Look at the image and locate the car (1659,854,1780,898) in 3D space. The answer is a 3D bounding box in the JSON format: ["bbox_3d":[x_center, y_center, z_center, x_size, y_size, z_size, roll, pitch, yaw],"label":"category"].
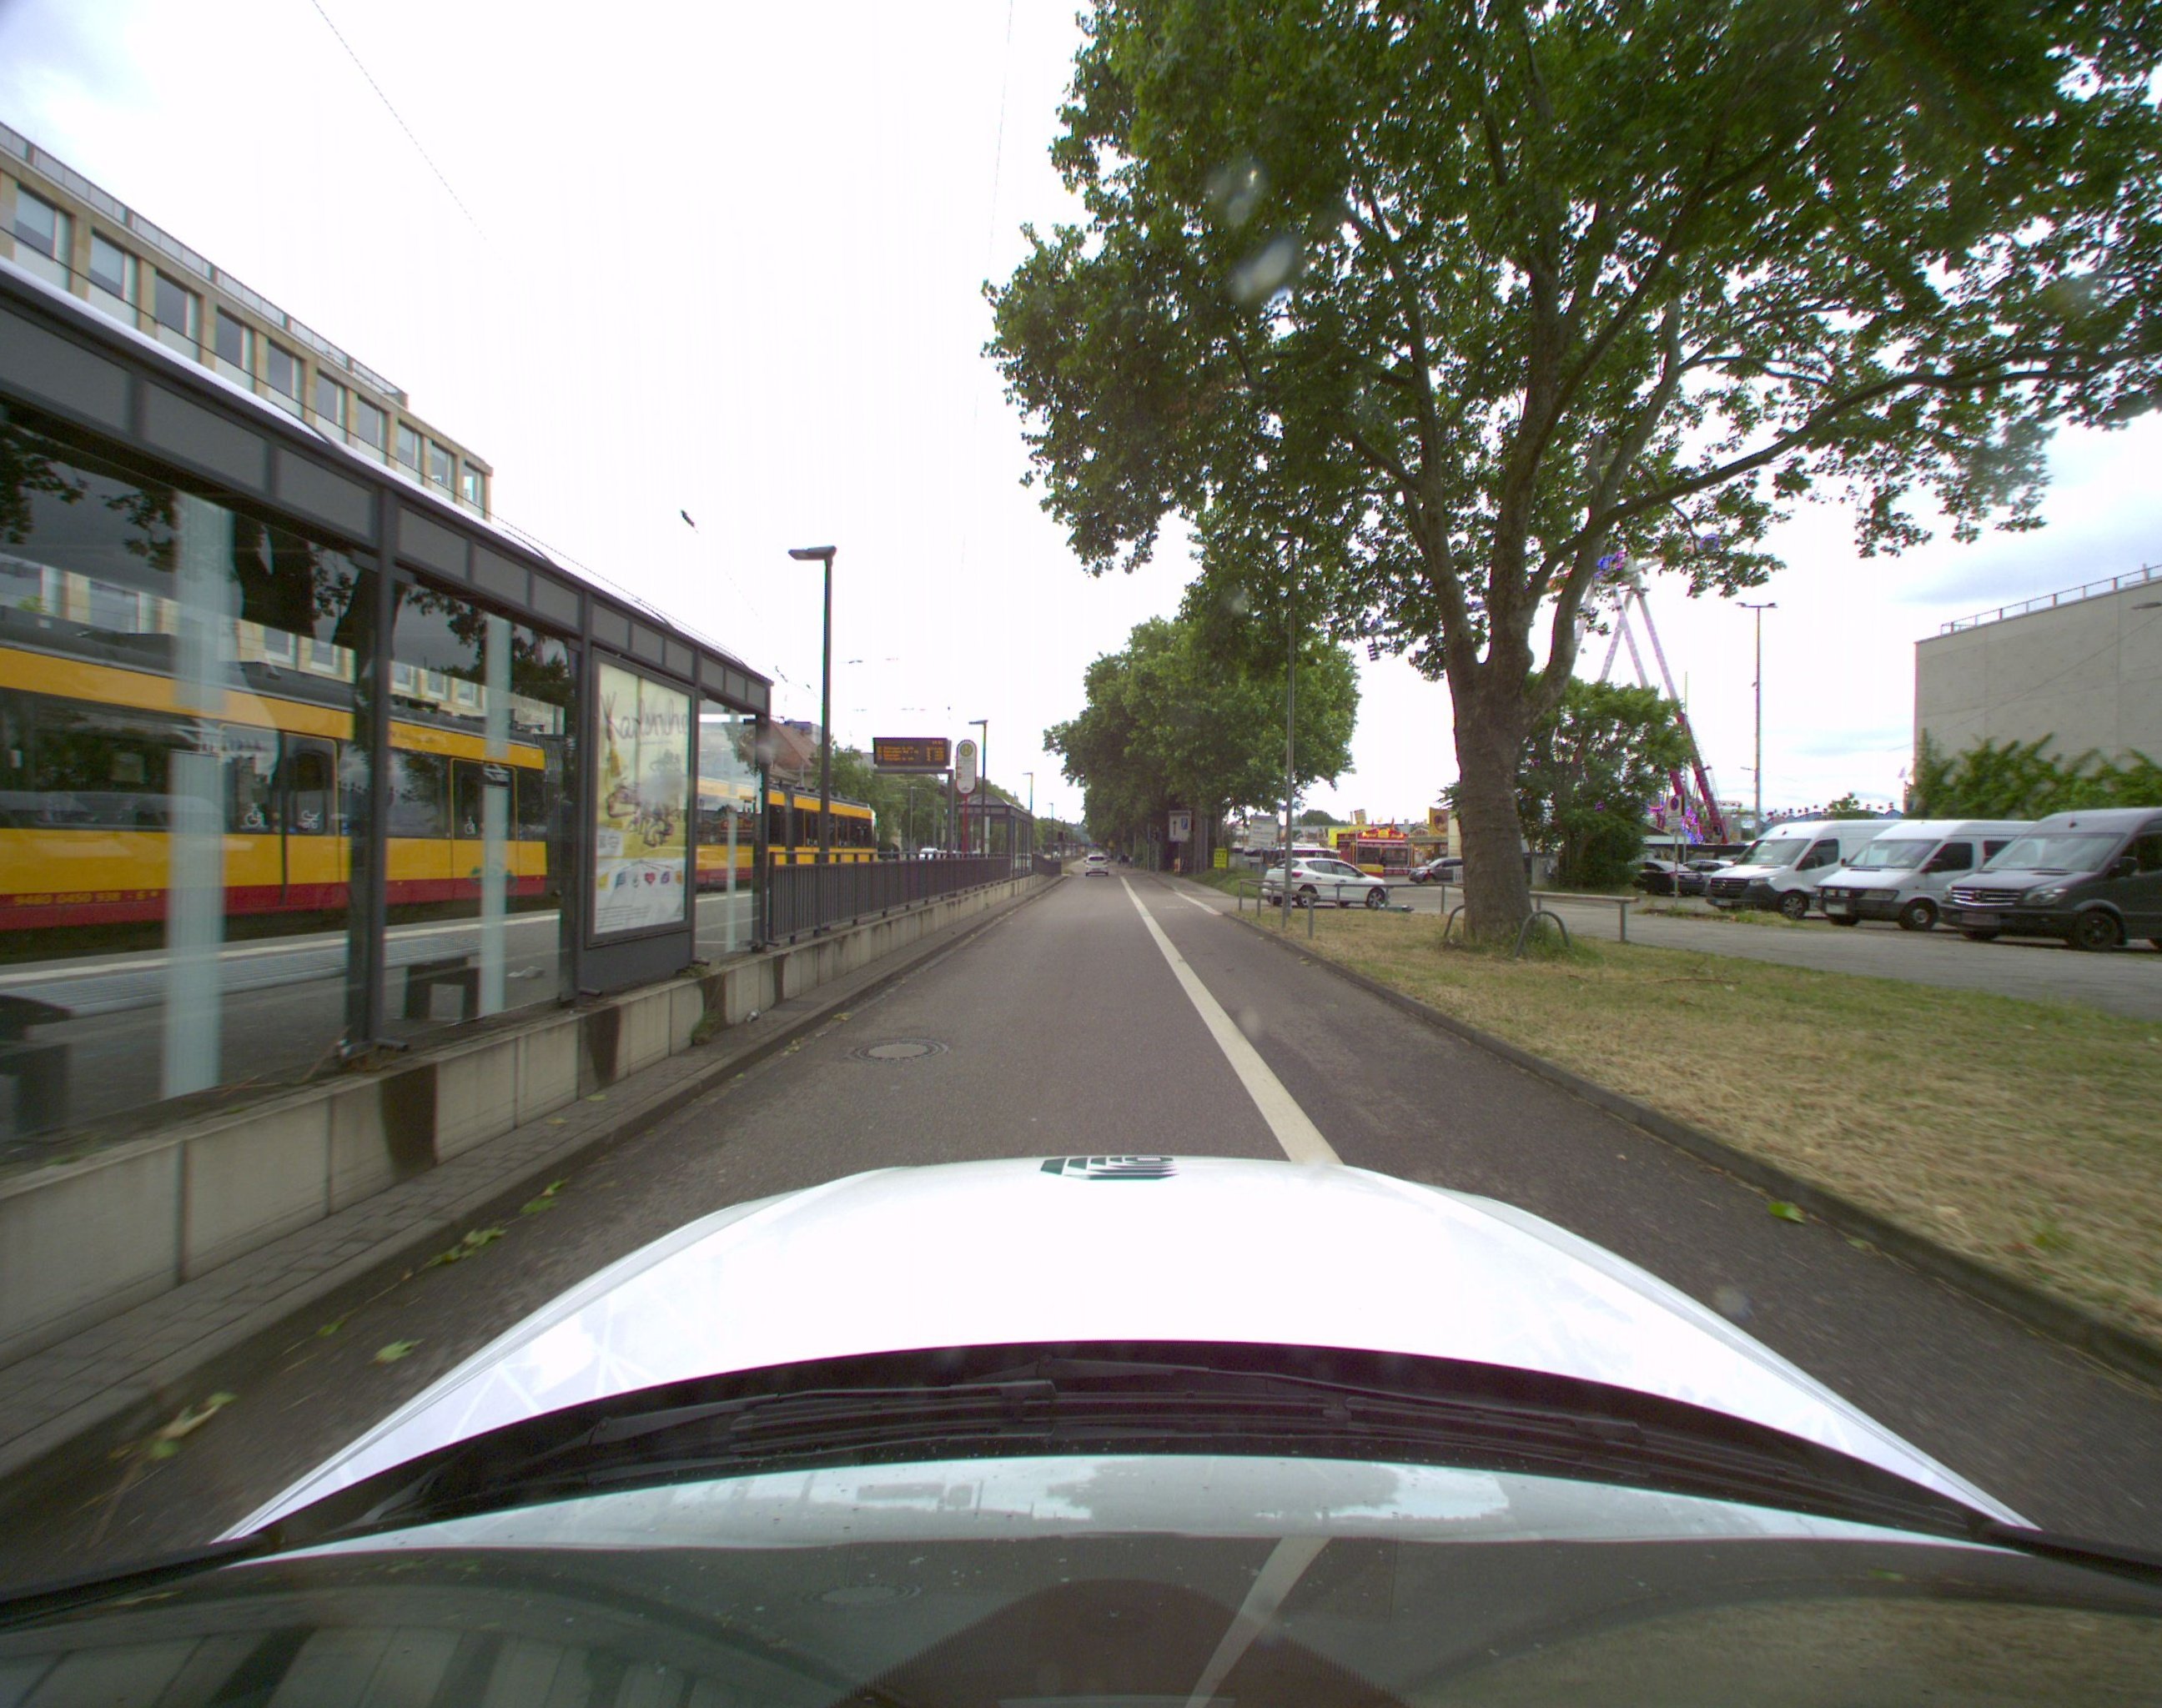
[{"bbox_3d":[26.517,0.869,34.029,1.880,1.644,3.999,1,1,-1],"label":"car"}]

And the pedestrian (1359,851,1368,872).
[{"bbox_3d":[23.178,0.604,66.837,0.491,1.687,0.523,1,-1,-2],"label":"pedestrian"}]

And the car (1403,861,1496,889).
[{"bbox_3d":[21.506,1.222,47.590,4.559,1.575,1.999,1,-1,-1],"label":"car"}]

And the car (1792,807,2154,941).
[{"bbox_3d":[19.568,0.421,18.068,5.765,2.535,2.040,3,-1,0],"label":"car"}]

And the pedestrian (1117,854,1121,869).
[{"bbox_3d":[5.277,1.032,113.488,0.393,2.014,0.404,0,-1,16],"label":"pedestrian"}]

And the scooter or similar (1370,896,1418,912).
[{"bbox_3d":[8.821,1.405,22.936,1.166,0.349,1.339,-1,-1,25],"label":"scooter or similar"}]

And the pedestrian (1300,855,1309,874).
[{"bbox_3d":[16.986,0.781,61.847,0.491,1.463,0.523,1,-1,-2],"label":"pedestrian"}]

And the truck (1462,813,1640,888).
[{"bbox_3d":[25.130,-0.184,43.784,8.165,3.822,2.599,1,-1,-1],"label":"truck"}]

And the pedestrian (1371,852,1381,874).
[{"bbox_3d":[23.040,0.710,63.594,0.523,1.687,0.491,1,-1,-15],"label":"pedestrian"}]

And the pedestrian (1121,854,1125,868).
[{"bbox_3d":[5.829,0.962,113.379,0.393,2.014,0.404,0,-1,16],"label":"pedestrian"}]

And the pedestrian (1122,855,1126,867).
[{"bbox_3d":[5.333,0.874,100.339,0.395,1.444,0.562,1,-1,-3],"label":"pedestrian"}]

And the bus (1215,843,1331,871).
[{"bbox_3d":[15.961,0.295,68.080,9.251,2.227,1.999,1,-1,-2],"label":"bus"}]

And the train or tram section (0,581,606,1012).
[{"bbox_3d":[-12.014,-0.548,10.115,3.168,4.179,14.737,1,-1,2],"label":"train or tram section"}]

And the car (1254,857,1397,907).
[{"bbox_3d":[7.579,0.838,25.282,4.004,1.453,1.877,1,-1,-23],"label":"car"}]

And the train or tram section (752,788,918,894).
[{"bbox_3d":[-11.197,-0.443,39.576,3.168,4.179,14.737,1,-1,2],"label":"train or tram section"}]

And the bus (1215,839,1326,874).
[{"bbox_3d":[16.516,0.211,71.151,9.251,2.960,1.999,1,-1,-2],"label":"bus"}]

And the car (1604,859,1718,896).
[{"bbox_3d":[24.054,0.947,33.973,1.880,1.349,3.998,3,-1,-1],"label":"car"}]

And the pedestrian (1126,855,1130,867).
[{"bbox_3d":[5.784,0.860,100.377,0.395,1.585,0.537,1,-1,-3],"label":"pedestrian"}]

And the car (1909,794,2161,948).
[{"bbox_3d":[19.186,0.358,14.843,5.761,2.522,2.173,3,0,3],"label":"car"}]

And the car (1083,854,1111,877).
[{"bbox_3d":[1.180,0.814,58.456,1.833,1.552,4.003,0,0,2],"label":"car"}]

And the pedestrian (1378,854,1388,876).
[{"bbox_3d":[23.774,0.869,64.077,0.523,1.687,0.491,1,-1,-15],"label":"pedestrian"}]

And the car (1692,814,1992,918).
[{"bbox_3d":[19.787,0.308,21.379,6.005,2.556,2.099,1,-1,-1],"label":"car"}]

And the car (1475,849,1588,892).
[{"bbox_3d":[22.442,0.792,40.712,4.559,2.013,2.000,0,0,-1],"label":"car"}]

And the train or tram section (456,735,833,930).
[{"bbox_3d":[-11.613,-0.380,24.873,3.168,4.179,14.737,1,-1,2],"label":"train or tram section"}]
